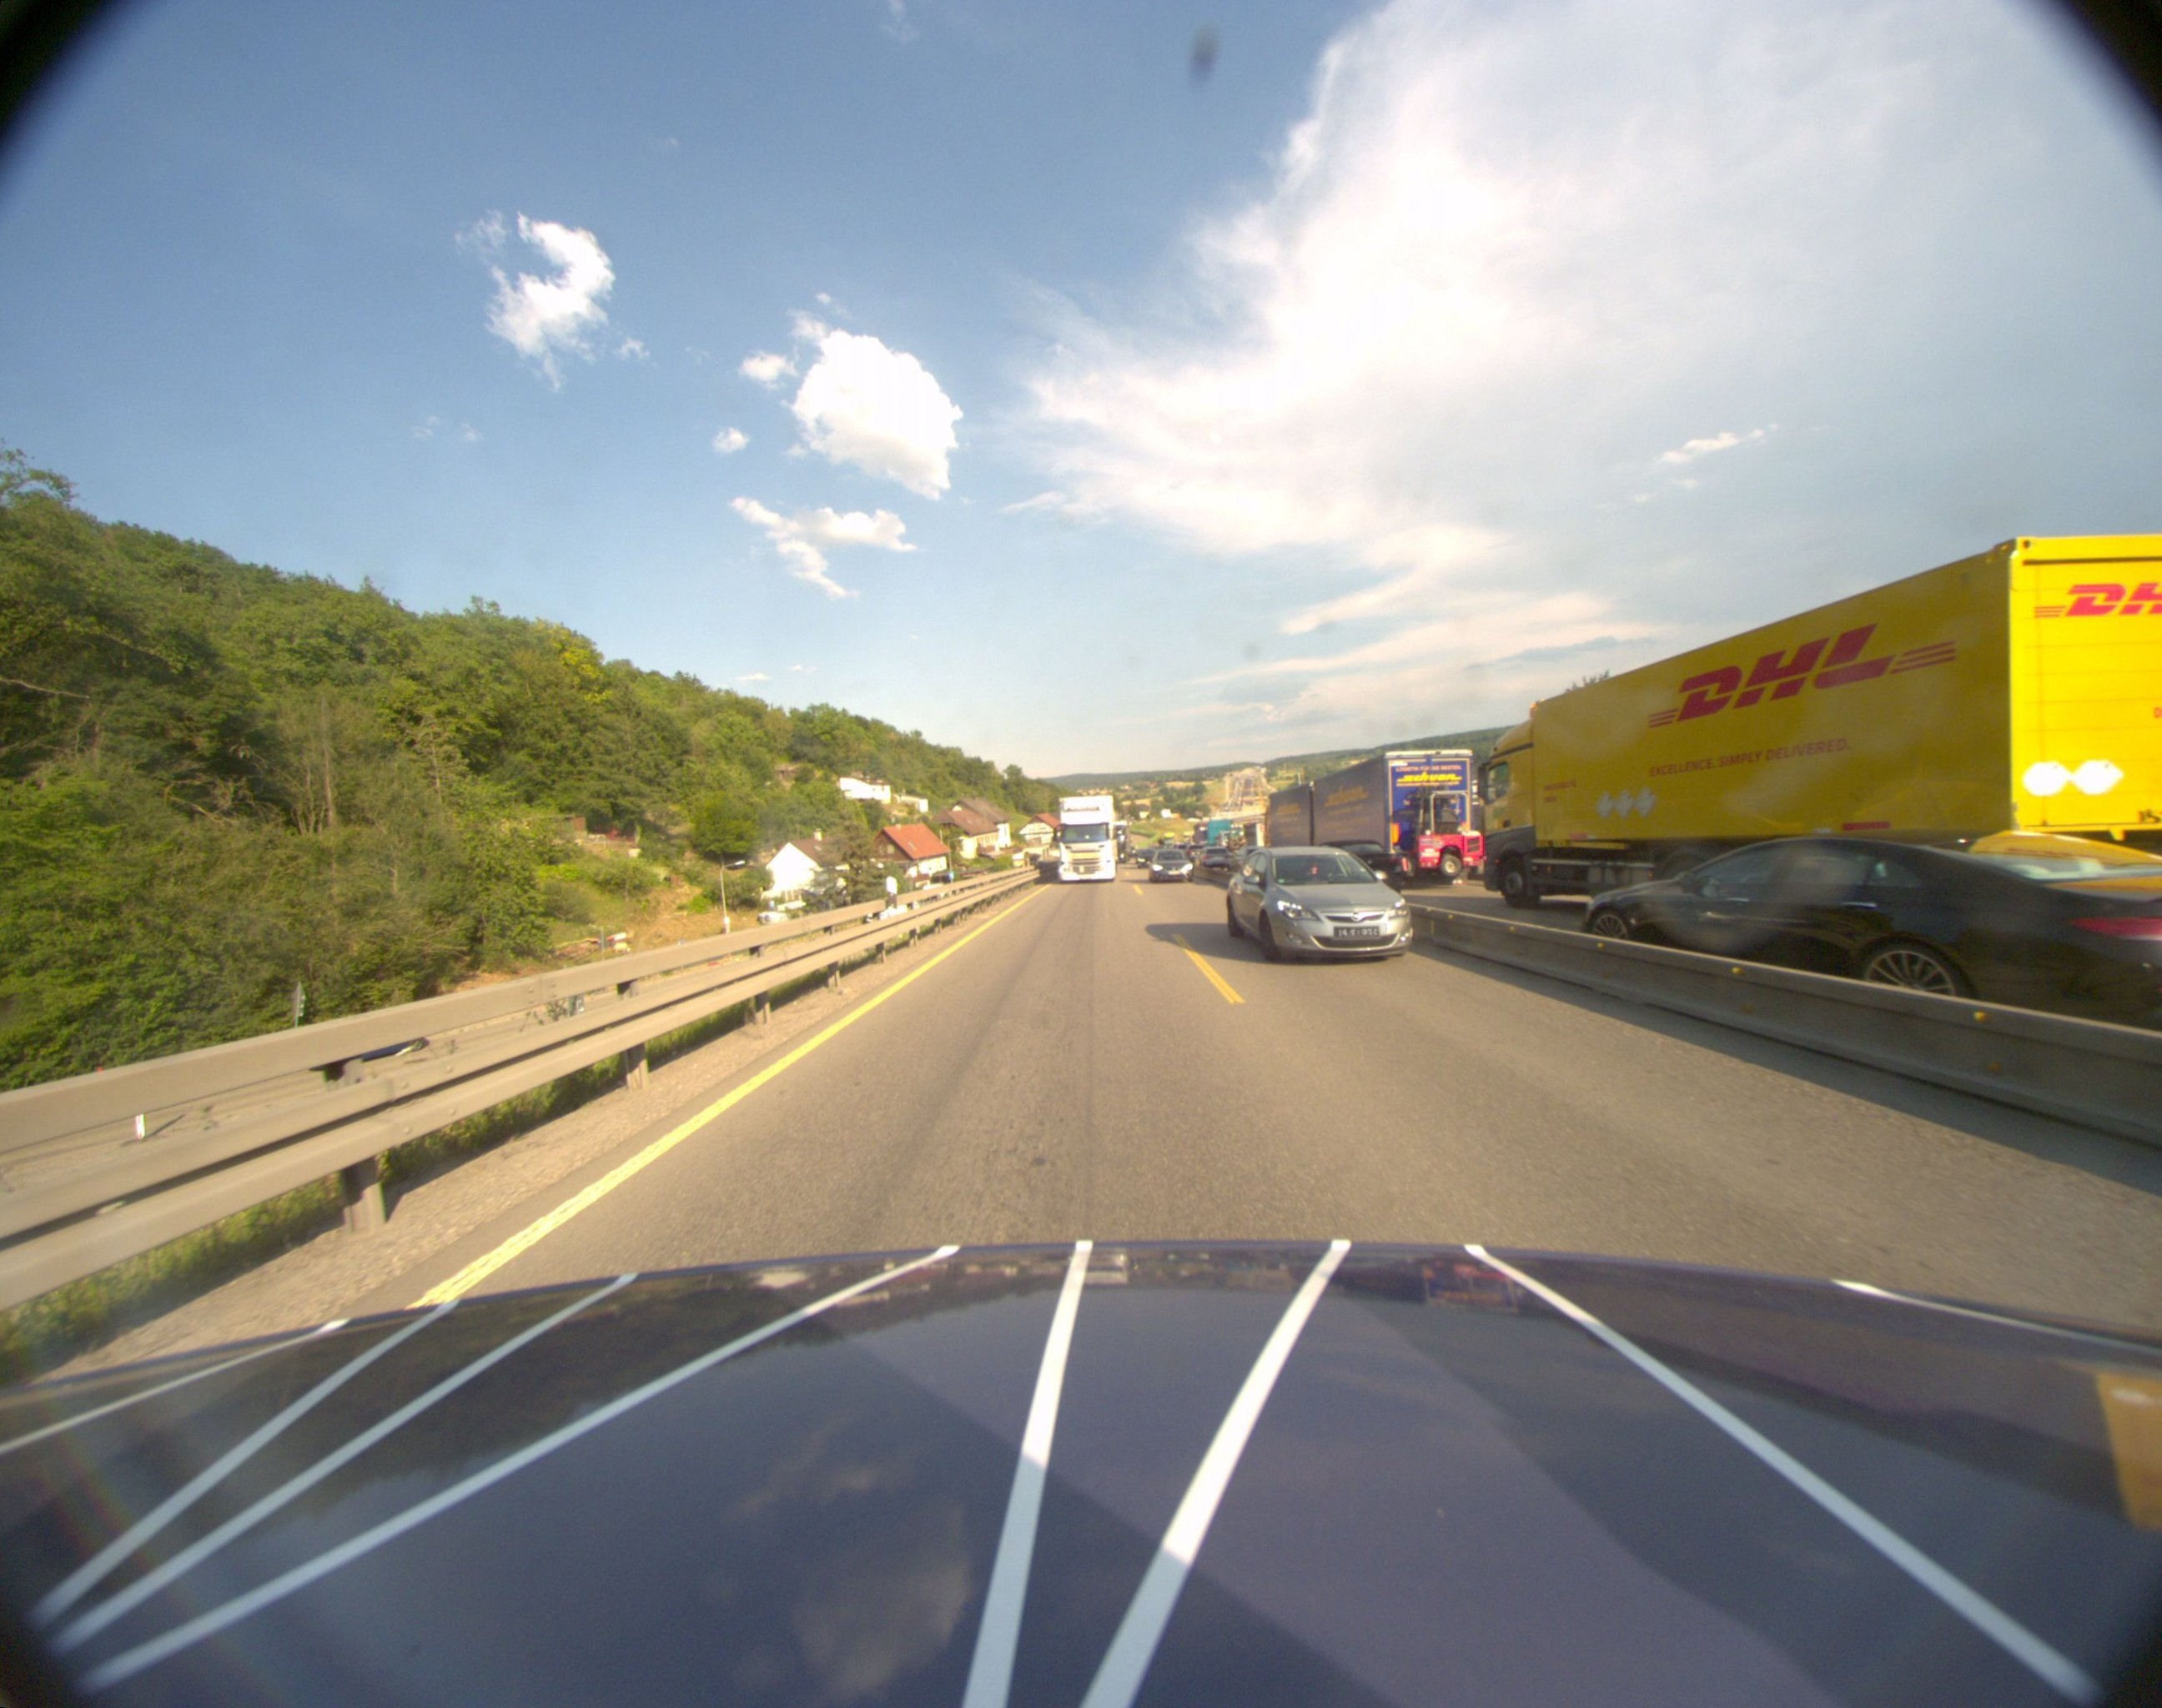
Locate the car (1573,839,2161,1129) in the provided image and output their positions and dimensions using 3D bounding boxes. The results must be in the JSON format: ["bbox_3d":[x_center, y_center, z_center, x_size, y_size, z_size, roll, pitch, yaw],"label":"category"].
[{"bbox_3d":[6.412,0.615,6.163,1.744,1.394,4.901,-1,2,1],"label":"car"}]

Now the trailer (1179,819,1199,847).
[{"bbox_3d":[17.962,-3.436,126.412,2.917,4.440,7.154,-2,1,6],"label":"trailer"}]

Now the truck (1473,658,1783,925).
[{"bbox_3d":[9.847,-1.047,14.313,2.700,4.173,4.397,-1,2,1],"label":"truck"}]

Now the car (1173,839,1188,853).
[{"bbox_3d":[14.088,-1.177,107.540,1.827,1.922,5.130,1,2,4],"label":"car"}]

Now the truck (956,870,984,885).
[{"bbox_3d":[-15.544,3.240,106.153,2.002,1.729,3.990,-11,5,-36],"label":"truck"}]

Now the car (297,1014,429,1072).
[{"bbox_3d":[-30.762,8.071,32.675,1.770,1.589,3.622,-5,-1,20],"label":"car"}]

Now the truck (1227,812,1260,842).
[{"bbox_3d":[23.779,-3.841,111.569,3.165,4.099,12.494,0,1,5],"label":"truck"}]

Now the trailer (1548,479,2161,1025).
[{"bbox_3d":[9.645,-0.799,5.783,2.708,4.180,15.993,-1,2,1],"label":"trailer"}]

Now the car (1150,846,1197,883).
[{"bbox_3d":[3.984,0.407,33.061,1.822,1.433,4.001,-3,1,6],"label":"car"}]

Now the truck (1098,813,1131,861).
[{"bbox_3d":[3.471,-1.626,76.333,2.787,4.505,7.192,-3,0,5],"label":"truck"}]

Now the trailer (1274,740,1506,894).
[{"bbox_3d":[10.524,-1.240,29.021,2.721,4.111,16.749,-1,2,3],"label":"trailer"}]

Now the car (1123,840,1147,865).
[{"bbox_3d":[4.751,-0.181,67.236,1.998,2.002,3.999,-1,2,2],"label":"car"}]

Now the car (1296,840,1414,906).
[{"bbox_3d":[7.186,0.420,20.374,1.720,1.499,4.291,-1,2,2],"label":"car"}]

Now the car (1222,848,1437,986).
[{"bbox_3d":[3.209,0.711,10.720,1.810,1.478,4.118,-2,1,2],"label":"car"}]

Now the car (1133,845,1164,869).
[{"bbox_3d":[4.870,0.199,55.327,1.998,1.565,3.999,-1,2,2],"label":"car"}]

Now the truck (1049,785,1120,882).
[{"bbox_3d":[0.523,-1.069,39.416,2.892,4.060,13.892,-1,2,3],"label":"truck"}]

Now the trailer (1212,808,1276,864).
[{"bbox_3d":[12.574,-1.409,60.131,2.755,3.794,16.048,0,1,4],"label":"trailer"}]

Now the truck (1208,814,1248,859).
[{"bbox_3d":[13.189,-1.589,68.639,2.755,3.784,7.112,0,1,4],"label":"truck"}]

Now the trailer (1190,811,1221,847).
[{"bbox_3d":[15.185,-2.968,93.600,2.720,4.099,12.494,0,1,5],"label":"trailer"}]

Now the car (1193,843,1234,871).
[{"bbox_3d":[7.773,0.122,45.051,1.792,1.489,4.724,-1,2,3],"label":"car"}]

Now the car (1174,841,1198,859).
[{"bbox_3d":[10.601,-0.400,76.835,1.964,1.635,4.848,-1,2,3],"label":"car"}]

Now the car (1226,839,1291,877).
[{"bbox_3d":[7.463,0.116,32.428,1.801,1.445,4.615,-1,2,2],"label":"car"}]

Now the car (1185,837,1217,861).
[{"bbox_3d":[9.190,-0.436,58.577,1.931,1.692,4.691,-1,2,3],"label":"car"}]

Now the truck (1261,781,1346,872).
[{"bbox_3d":[10.908,-1.332,37.794,2.707,4.117,5.793,-1,2,3],"label":"truck"}]

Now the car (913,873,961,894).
[{"bbox_3d":[-18.278,3.776,96.401,5.475,2.252,2.001,-3,3,13],"label":"car"}]

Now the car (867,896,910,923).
[{"bbox_3d":[-18.907,5.408,75.003,1.865,1.975,5.054,-1,4,13],"label":"car"}]

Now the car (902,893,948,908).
[{"bbox_3d":[-19.133,5.679,93.165,5.098,1.548,1.716,-2,3,13],"label":"car"}]
